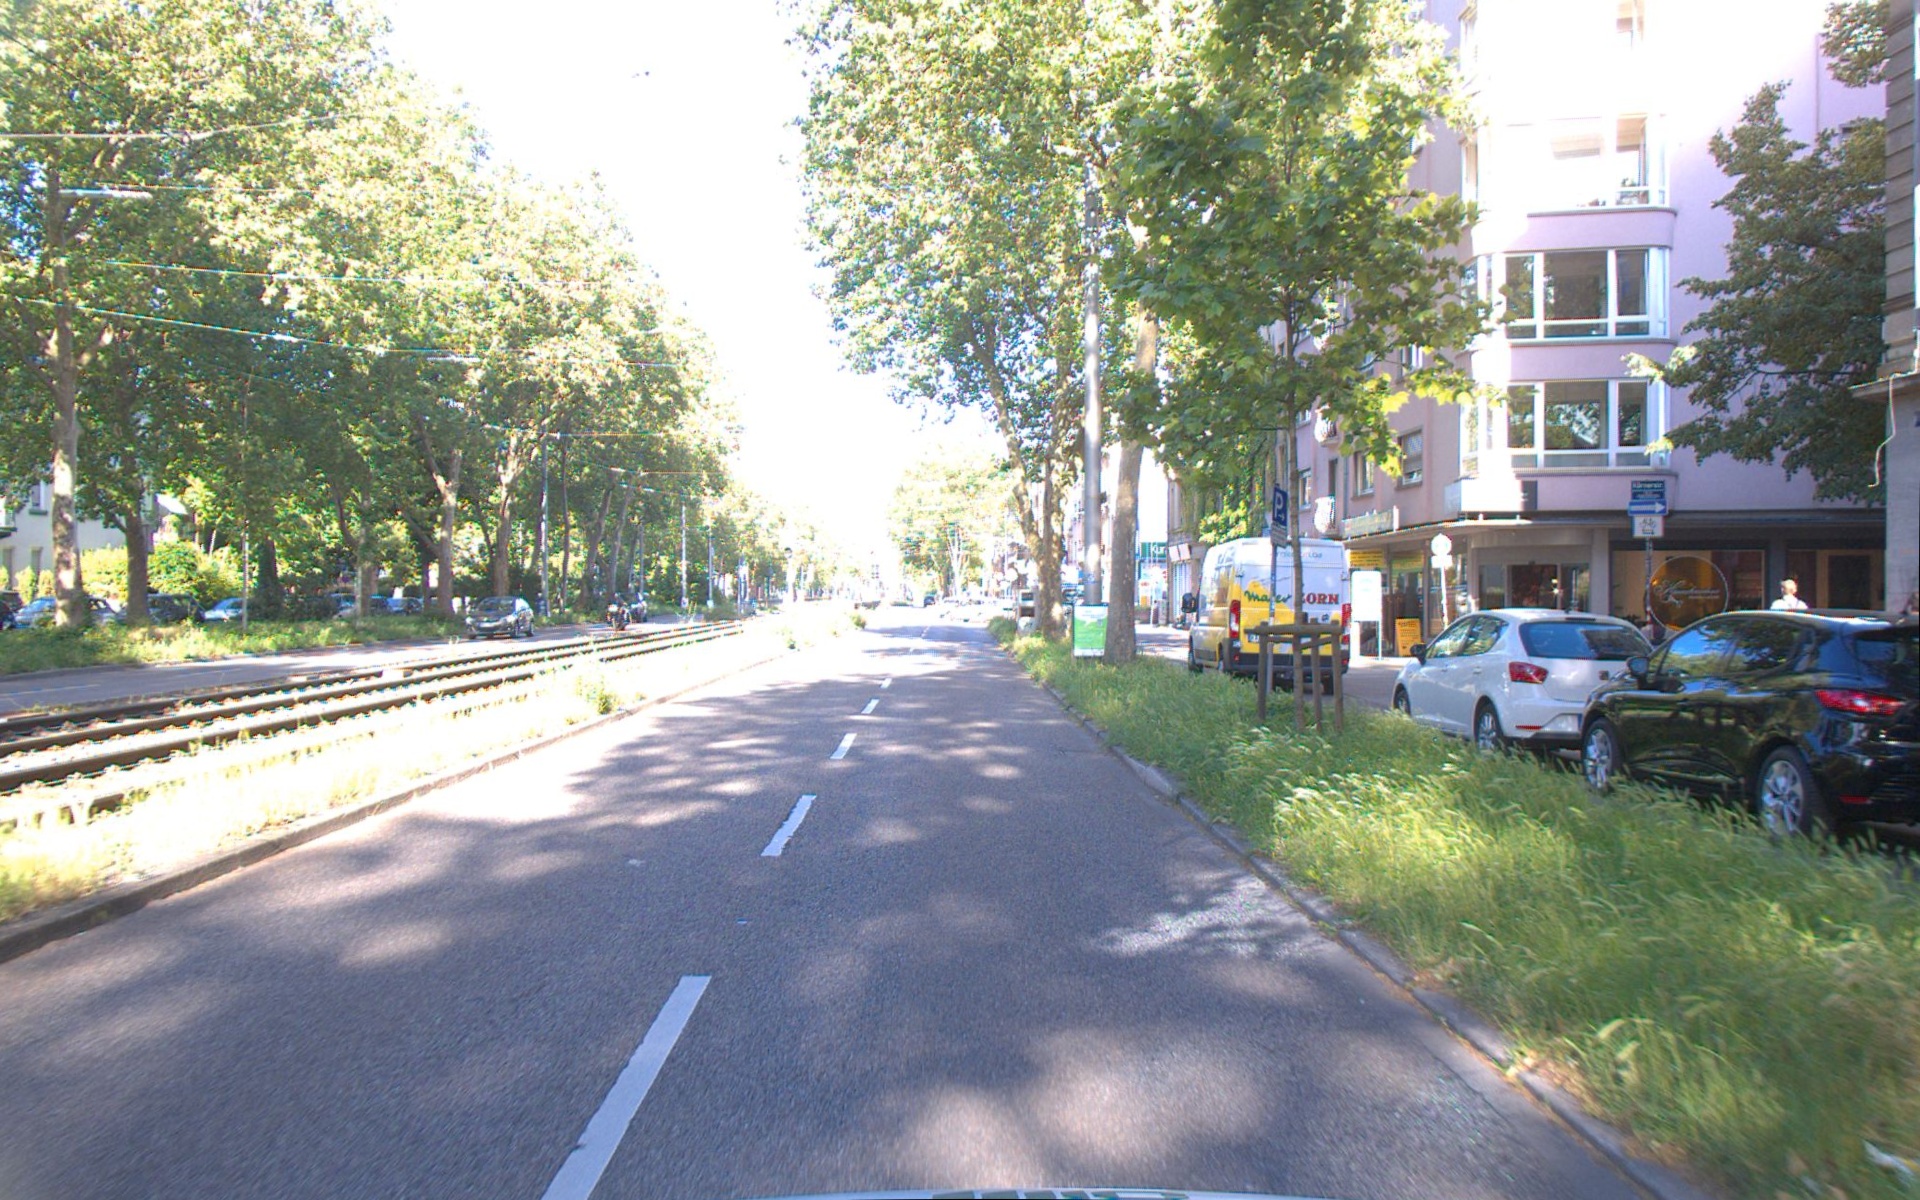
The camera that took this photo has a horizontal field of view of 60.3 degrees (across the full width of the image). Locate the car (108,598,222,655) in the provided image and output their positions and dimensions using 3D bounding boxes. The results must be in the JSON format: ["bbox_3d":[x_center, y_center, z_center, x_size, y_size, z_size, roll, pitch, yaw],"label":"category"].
[{"bbox_3d":[-27.420,0.891,57.213,1.783,1.868,4.553,0,0,-1],"label":"car"}]

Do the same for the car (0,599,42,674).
[{"bbox_3d":[-27.130,0.997,45.017,1.952,2.049,4.102,0,0,1],"label":"car"}]

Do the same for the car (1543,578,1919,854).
[{"bbox_3d":[5.697,0.683,11.382,1.718,1.522,4.183,3,0,-2],"label":"car"}]

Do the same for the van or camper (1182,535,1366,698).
[{"bbox_3d":[5.451,0.280,29.613,2.139,2.523,6.269,2,0,1],"label":"van or camper"}]

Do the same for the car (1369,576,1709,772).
[{"bbox_3d":[5.500,0.640,16.320,1.718,1.599,4.183,3,0,-2],"label":"car"}]

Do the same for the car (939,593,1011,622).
[{"bbox_3d":[0.888,0.448,98.441,3.920,1.691,2.020,0,0,36],"label":"car"}]

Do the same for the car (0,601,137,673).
[{"bbox_3d":[-27.348,1.082,50.586,1.952,2.049,4.684,0,0,1],"label":"car"}]

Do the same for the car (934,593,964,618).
[{"bbox_3d":[-0.794,0.386,114.705,1.981,1.691,3.998,0,0,-2],"label":"car"}]

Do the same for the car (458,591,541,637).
[{"bbox_3d":[-16.713,0.509,60.243,1.759,1.534,4.338,-3,0,0],"label":"car"}]

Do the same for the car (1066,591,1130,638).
[{"bbox_3d":[4.747,0.491,57.320,1.649,1.540,3.664,1,0,-4],"label":"car"}]

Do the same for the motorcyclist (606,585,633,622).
[{"bbox_3d":[-14.113,0.141,68.485,0.925,1.540,0.958,0,0,-1],"label":"motorcyclist"}]

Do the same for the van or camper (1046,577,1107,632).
[{"bbox_3d":[4.355,0.172,62.721,1.802,1.997,5.125,1,0,-2],"label":"van or camper"}]

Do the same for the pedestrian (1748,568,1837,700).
[{"bbox_3d":[11.509,0.459,22.899,0.677,1.786,1.079,0,0,-1],"label":"pedestrian"}]

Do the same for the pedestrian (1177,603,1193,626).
[{"bbox_3d":[11.193,0.724,82.292,0.693,1.171,0.740,0,0,0],"label":"pedestrian"}]

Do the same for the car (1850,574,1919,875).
[{"bbox_3d":[5.690,0.658,6.636,1.702,1.489,4.363,3,0,-2],"label":"car"}]

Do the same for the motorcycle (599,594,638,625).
[{"bbox_3d":[-14.128,0.364,68.459,0.944,1.233,3.351,0,0,-1],"label":"motorcycle"}]

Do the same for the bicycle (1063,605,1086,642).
[{"bbox_3d":[3.282,0.669,47.618,0.576,1.008,1.450,0,0,1],"label":"bicycle"}]

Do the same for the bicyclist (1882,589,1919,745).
[{"bbox_3d":[10.437,0.706,17.790,0.645,1.643,0.698,0,0,-1],"label":"bicyclist"}]

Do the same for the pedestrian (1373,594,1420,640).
[{"bbox_3d":[12.140,0.476,46.040,1.120,1.278,0.749,0,0,-1],"label":"pedestrian"}]

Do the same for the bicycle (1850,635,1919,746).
[{"bbox_3d":[10.421,0.964,17.791,0.656,1.146,1.899,0,0,-1],"label":"bicycle"}]

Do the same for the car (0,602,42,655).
[{"bbox_3d":[-36.844,1.069,62.128,3.729,1.972,1.713,0,0,-2],"label":"car"}]

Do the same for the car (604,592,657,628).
[{"bbox_3d":[-18.504,0.545,93.127,1.953,1.903,4.872,-2,0,0],"label":"car"}]

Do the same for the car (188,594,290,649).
[{"bbox_3d":[-27.695,0.791,63.691,1.953,2.049,4.683,0,0,-1],"label":"car"}]
